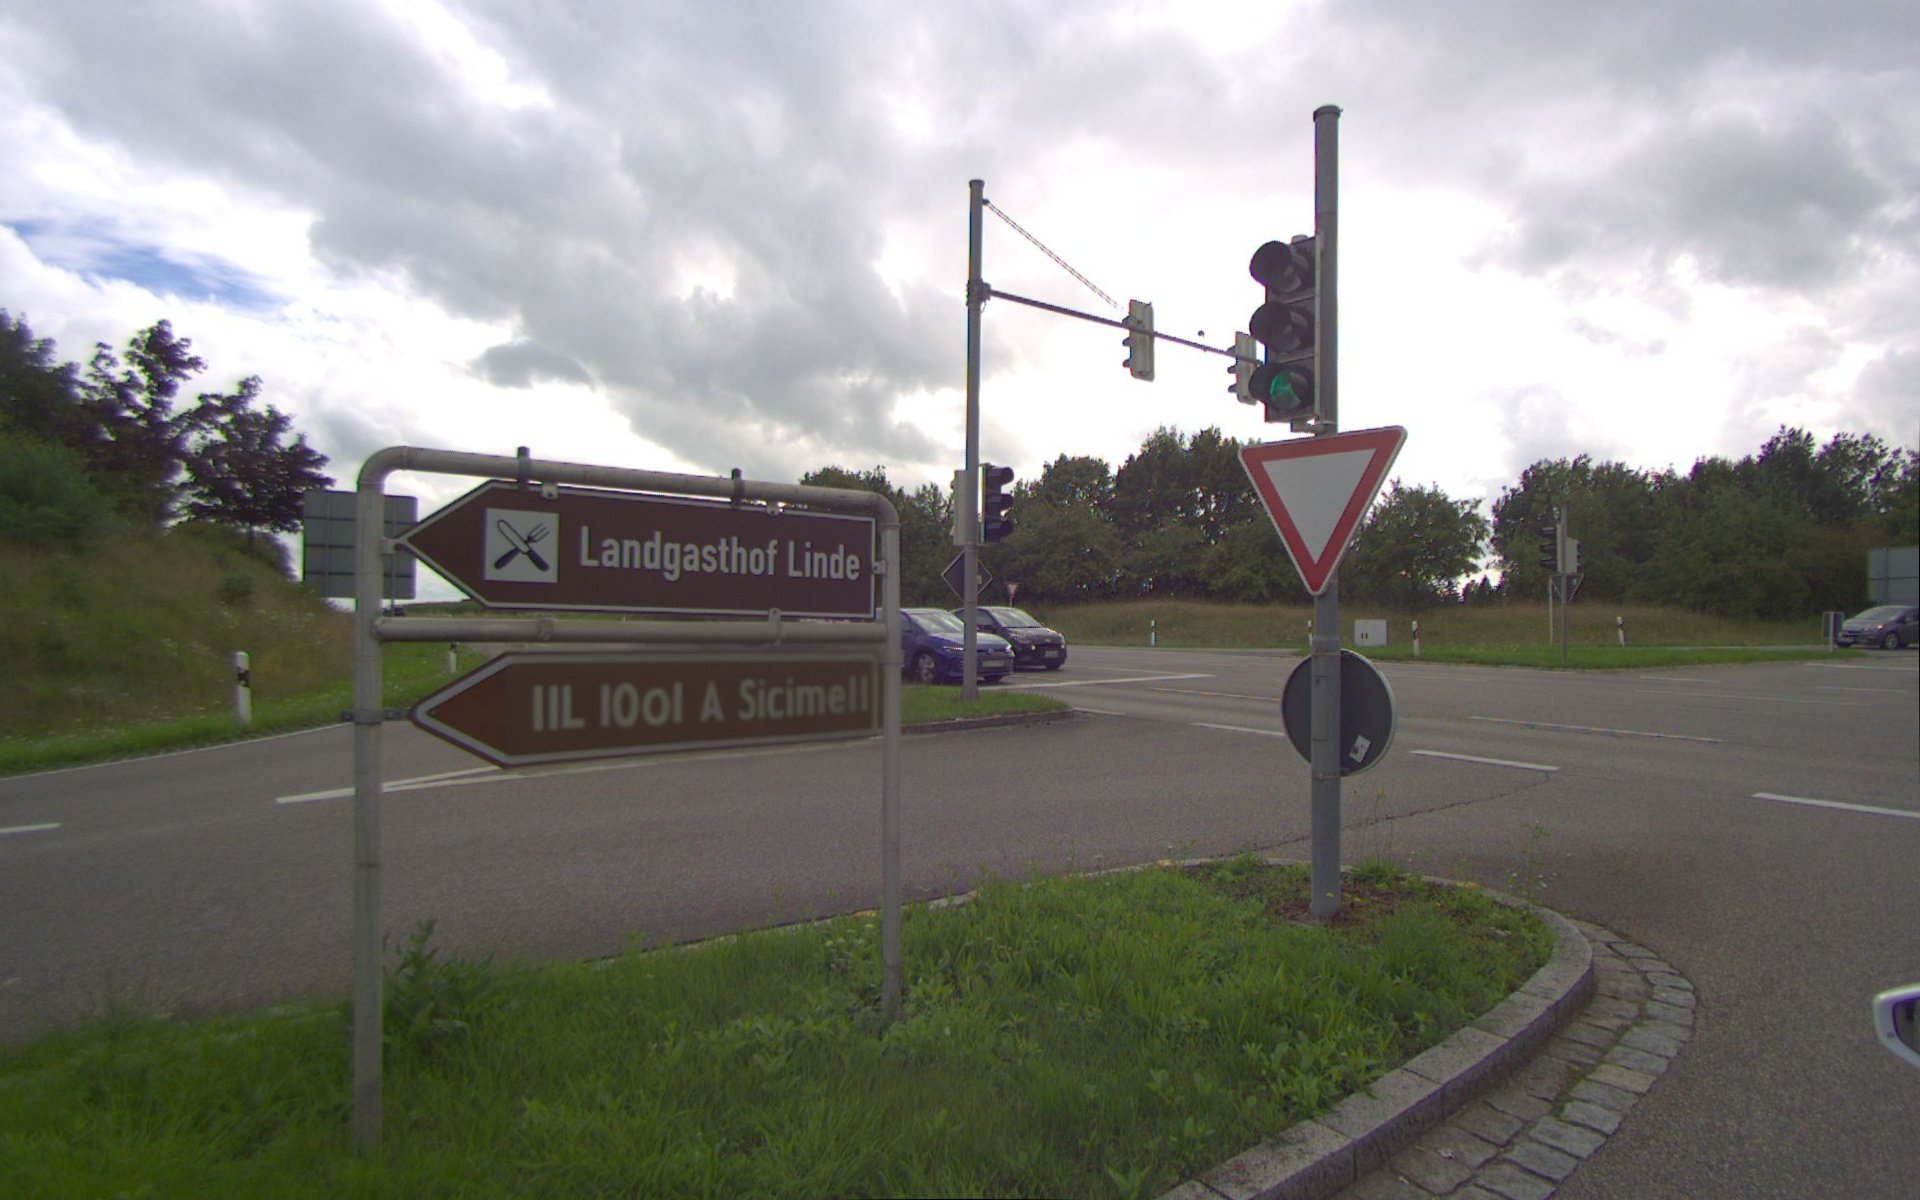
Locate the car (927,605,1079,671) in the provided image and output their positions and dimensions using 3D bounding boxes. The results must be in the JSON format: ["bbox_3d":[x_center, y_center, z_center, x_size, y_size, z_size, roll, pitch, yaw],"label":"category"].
[{"bbox_3d":[0.975,0.868,24.787,1.715,1.462,3.903,0,0,-36],"label":"car"}]

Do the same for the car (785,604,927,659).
[{"bbox_3d":[-3.243,0.889,30.496,2.037,1.504,4.828,-1,0,-38],"label":"car"}]

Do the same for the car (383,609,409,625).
[{"bbox_3d":[-64.777,1.932,115.426,1.835,1.712,3.952,2,-2,-41],"label":"car"}]

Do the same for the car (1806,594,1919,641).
[{"bbox_3d":[32.194,0.634,35.119,3.929,1.555,1.996,1,-1,-11],"label":"car"}]

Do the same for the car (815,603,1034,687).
[{"bbox_3d":[-0.905,0.847,21.341,2.035,1.555,5.068,0,0,-39],"label":"car"}]
